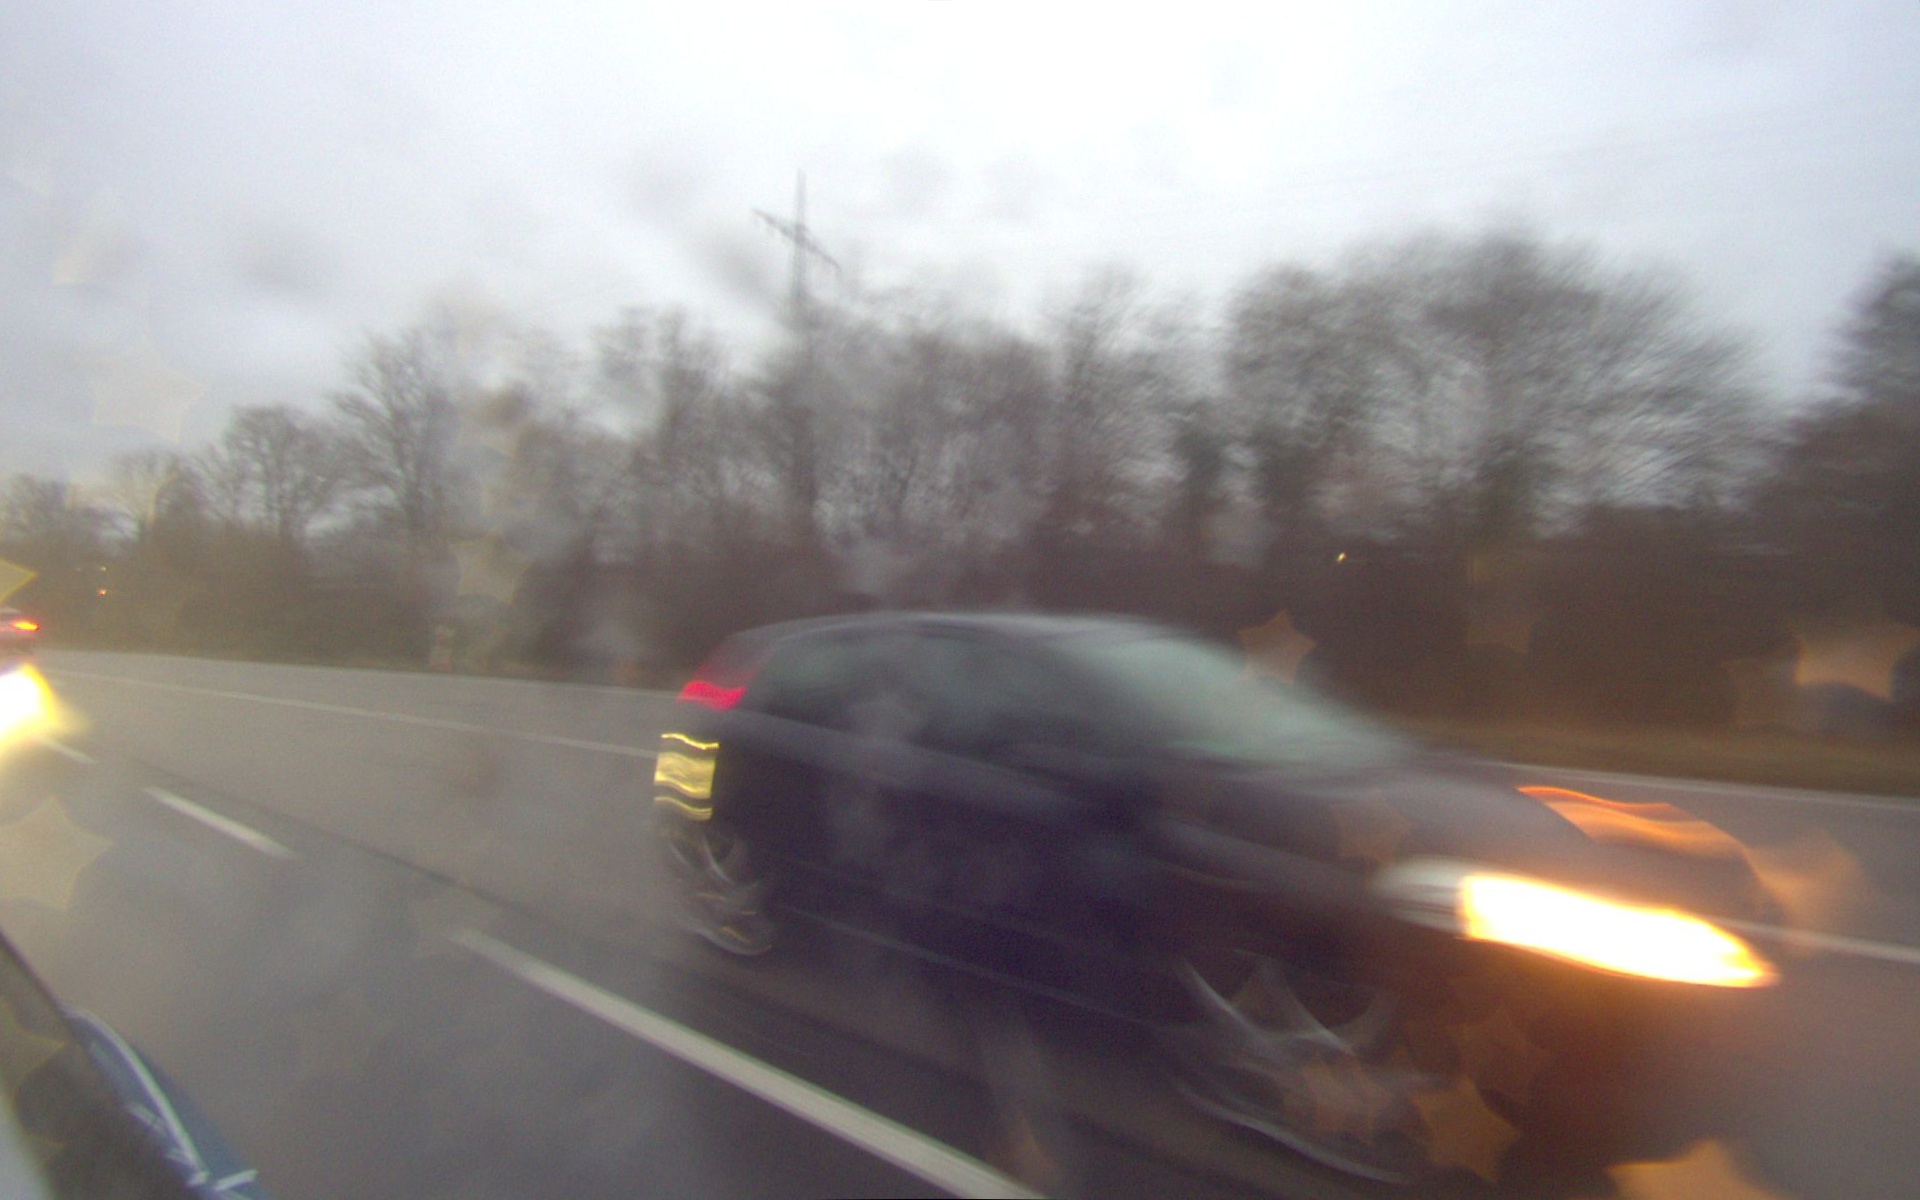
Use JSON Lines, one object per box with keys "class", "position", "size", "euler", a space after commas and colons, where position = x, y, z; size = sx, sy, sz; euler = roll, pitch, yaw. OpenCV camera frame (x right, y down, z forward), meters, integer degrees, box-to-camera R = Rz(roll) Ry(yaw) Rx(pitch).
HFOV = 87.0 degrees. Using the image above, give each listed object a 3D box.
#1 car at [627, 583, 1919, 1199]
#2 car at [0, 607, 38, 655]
{"class": "car", "position": [0.662, 0.708, 3.717], "size": [4.168, 1.431, 1.616], "euler": [-1, 1, 40]}
{"class": "car", "position": [-35.188, 1.102, 36.462], "size": [4.712, 1.661, 1.976], "euler": [0, 0, 35]}
